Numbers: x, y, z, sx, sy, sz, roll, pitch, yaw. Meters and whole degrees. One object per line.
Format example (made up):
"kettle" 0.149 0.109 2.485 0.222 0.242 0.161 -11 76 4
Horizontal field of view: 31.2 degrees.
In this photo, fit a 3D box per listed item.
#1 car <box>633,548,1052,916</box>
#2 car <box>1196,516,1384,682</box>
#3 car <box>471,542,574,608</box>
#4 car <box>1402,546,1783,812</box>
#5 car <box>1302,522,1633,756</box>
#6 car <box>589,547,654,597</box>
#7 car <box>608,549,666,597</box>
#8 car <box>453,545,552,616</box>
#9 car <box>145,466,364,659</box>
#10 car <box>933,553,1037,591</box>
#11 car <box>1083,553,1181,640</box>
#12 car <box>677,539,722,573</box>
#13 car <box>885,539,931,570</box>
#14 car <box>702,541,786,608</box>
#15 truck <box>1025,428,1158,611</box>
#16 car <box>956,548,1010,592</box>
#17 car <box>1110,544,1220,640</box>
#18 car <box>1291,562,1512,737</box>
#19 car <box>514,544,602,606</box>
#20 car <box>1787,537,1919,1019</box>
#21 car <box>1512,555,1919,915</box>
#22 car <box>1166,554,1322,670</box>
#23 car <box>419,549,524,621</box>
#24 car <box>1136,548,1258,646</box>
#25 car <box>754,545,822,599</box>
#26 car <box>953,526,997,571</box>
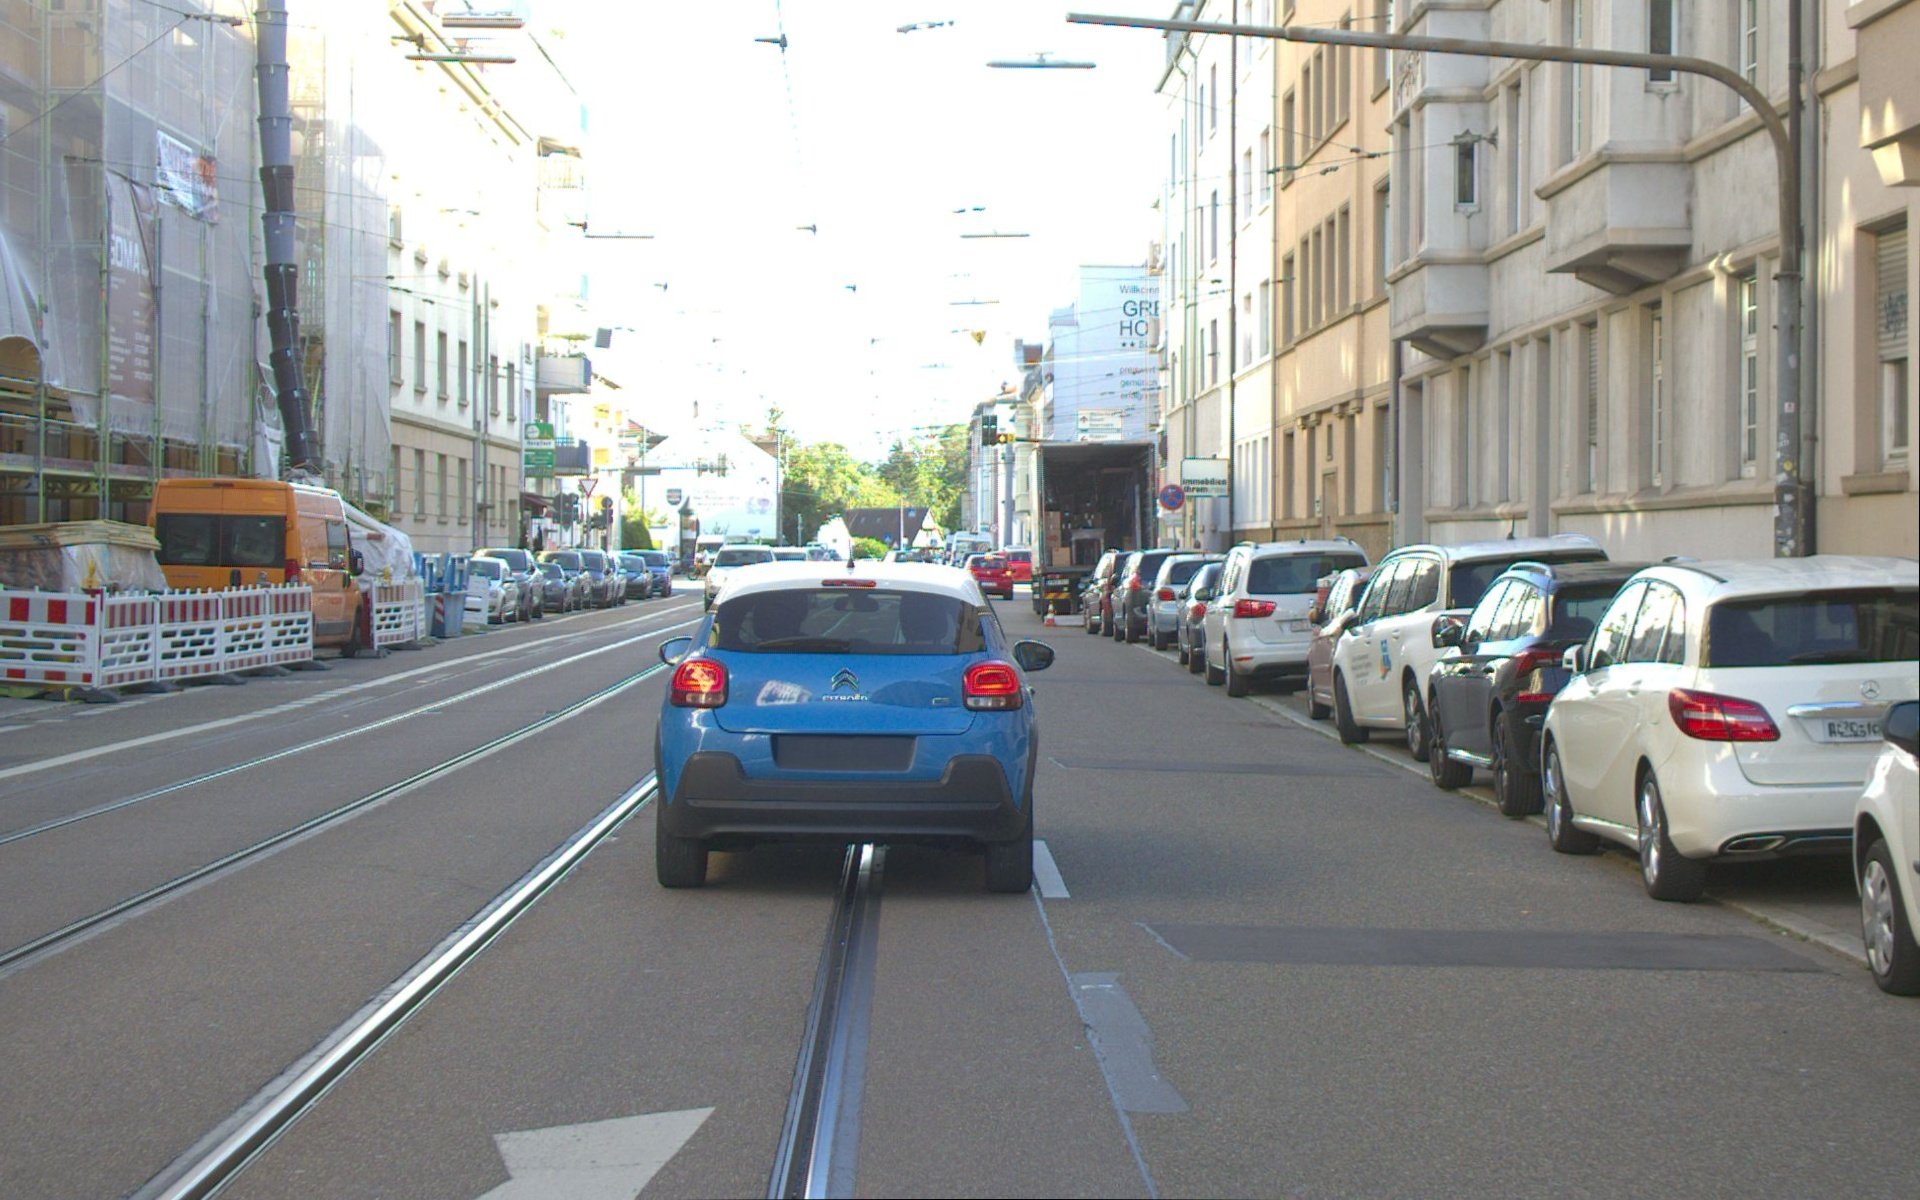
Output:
"car" -0.516 0.531 16.653 1.735 1.502 3.992 2 1 0
"car" 3.796 -0.045 40.248 1.730 1.821 4.686 0 1 0
"car" -11.040 -0.646 86.907 2.144 1.616 4.000 -1 1 -1
"car" 3.989 0.434 22.328 1.655 1.561 4.338 0 1 0
"car" 4.029 0.257 28.030 1.654 1.746 4.604 0 1 -5
"car" -11.084 -0.922 112.755 1.826 1.626 3.905 0 1 -1
"car" -11.144 -0.939 118.767 1.826 1.626 3.906 0 1 -3
"car" -10.470 -0.459 78.930 1.714 1.588 4.267 0 1 0
"car" -9.442 -0.520 46.411 2.144 2.467 4.981 0 1 -3
"car" 0.987 -1.114 137.193 4.017 1.481 1.761 0 1 -4
"car" 3.301 -0.089 66.542 1.664 1.627 3.871 0 1 0
"car" -12.717 -2.152 167.811 1.901 1.626 4.267 0 1 0
"car" -2.494 -2.205 166.021 2.180 1.481 4.160 0 1 0
"car" -5.337 -0.650 85.396 1.826 1.626 4.490 0 1 0
"truck" 3.035 -1.873 82.224 2.853 4.069 11.271 0 1 1
"car" 0.769 -1.018 115.468 1.765 1.481 4.032 0 1 0
"car" 3.573 -0.164 60.521 1.664 1.641 4.222 0 1 0
"car" 4.121 0.424 32.541 1.614 1.555 3.600 0 1 0
"car" -10.814 -0.682 92.682 1.826 1.626 4.849 0 1 0
"car" 4.131 0.602 11.415 1.783 1.626 4.000 0 1 0
"car" 4.011 0.560 17.192 1.783 1.570 4.326 0 1 0
"car" 3.751 0.121 45.996 1.722 1.481 4.222 0 1 0
"car" -10.536 -0.337 74.355 1.714 1.512 4.047 0 1 0
"car" 3.800 -0.075 55.678 1.664 1.514 4.222 0 1 0
"car" -5.236 -0.868 105.122 1.901 1.626 4.267 0 1 0
"car" 0.742 -2.616 174.470 2.220 2.276 4.084 0 1 0
